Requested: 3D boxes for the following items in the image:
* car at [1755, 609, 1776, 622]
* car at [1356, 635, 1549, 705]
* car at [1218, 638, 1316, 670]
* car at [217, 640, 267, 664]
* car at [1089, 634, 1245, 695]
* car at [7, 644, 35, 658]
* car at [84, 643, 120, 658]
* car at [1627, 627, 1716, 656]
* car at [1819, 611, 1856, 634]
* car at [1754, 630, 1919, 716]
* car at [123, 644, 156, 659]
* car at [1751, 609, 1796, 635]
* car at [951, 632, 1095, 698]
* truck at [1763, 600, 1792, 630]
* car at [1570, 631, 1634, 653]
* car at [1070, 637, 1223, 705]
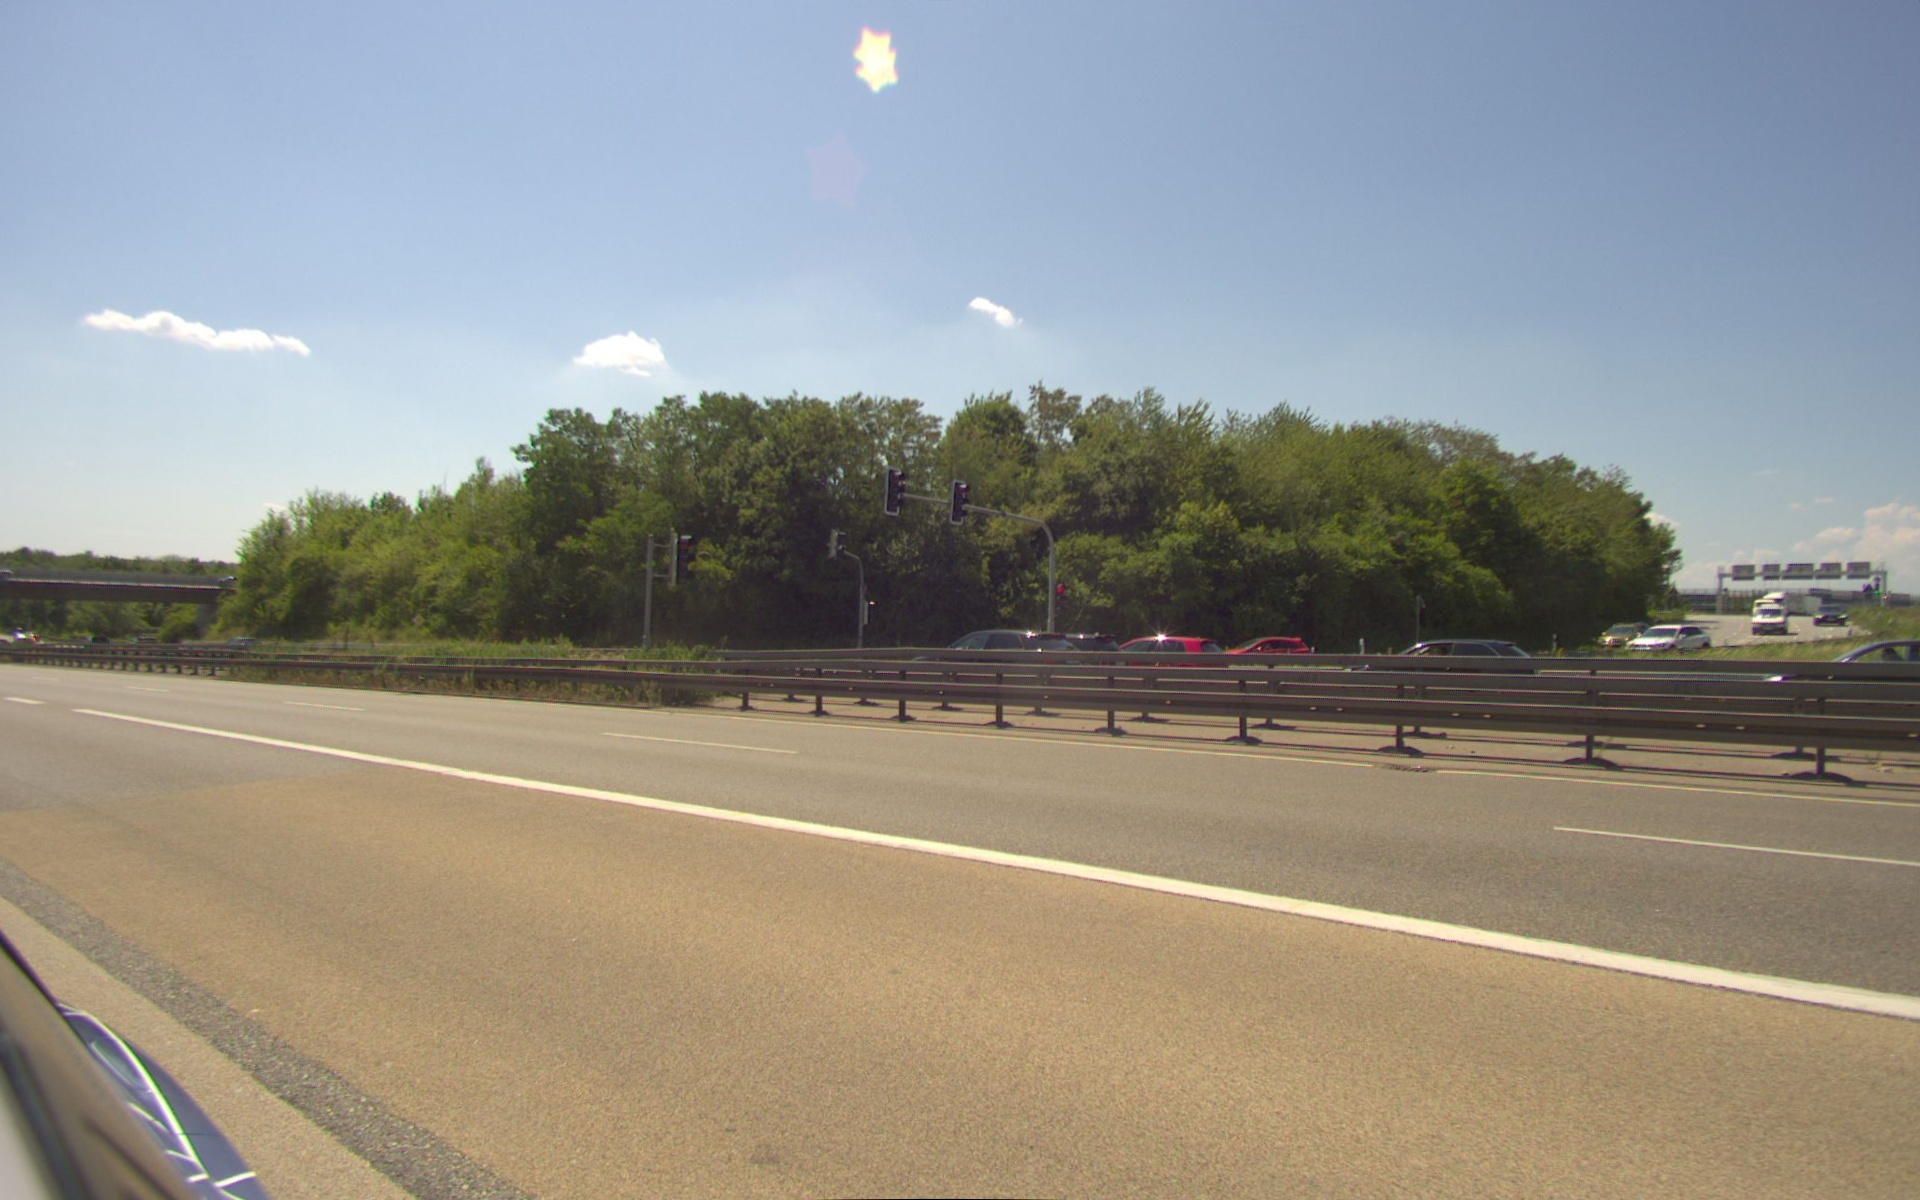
[{"bbox_3d":[76.908,1.497,96.646,1.531,1.175,4.022,-2,-3,39],"label":"car"},{"bbox_3d":[10.801,1.505,22.299,3.565,1.404,1.633,-2,-2,37],"label":"car"},{"bbox_3d":[12.324,2.161,40.737,3.317,1.231,1.712,0,-2,-8],"label":"car"},{"bbox_3d":[-49.522,3.563,69.767,3.993,1.580,1.697,-2,-2,37],"label":"car"},{"bbox_3d":[5.376,1.655,26.464,3.693,1.461,1.549,-2,-2,33],"label":"car"},{"bbox_3d":[-110.733,5.992,119.335,4.468,1.537,1.736,-2,-2,39],"label":"car"},{"bbox_3d":[-91.732,5.384,108.173,4.468,1.523,2.106,-2,-2,39],"label":"car"},{"bbox_3d":[32.341,1.874,45.995,3.877,1.231,1.715,1,-2,-29],"label":"car"},{"bbox_3d":[68.478,1.782,79.024,1.998,1.721,4.162,-2,-2,39],"label":"car"},{"bbox_3d":[16.645,1.276,18.182,3.661,1.461,1.469,-2,-2,37],"label":"car"},{"bbox_3d":[-78.766,4.934,97.152,4.469,1.421,1.632,-2,-2,40],"label":"car"},{"bbox_3d":[56.202,1.531,69.850,2.018,1.653,5.040,-2,-3,43],"label":"car"},{"bbox_3d":[1.250,1.284,20.471,2.723,1.246,1.142,-2,-2,37],"label":"car"},{"bbox_3d":[116.067,2.148,143.701,2.826,4.190,3.951,-2,-2,36],"label":"truck"},{"bbox_3d":[35.299,2.312,55.627,3.121,1.158,1.635,1,-2,-29],"label":"car"},{"bbox_3d":[4.043,1.510,22.124,3.011,1.359,1.328,-2,-2,37],"label":"car"}]
